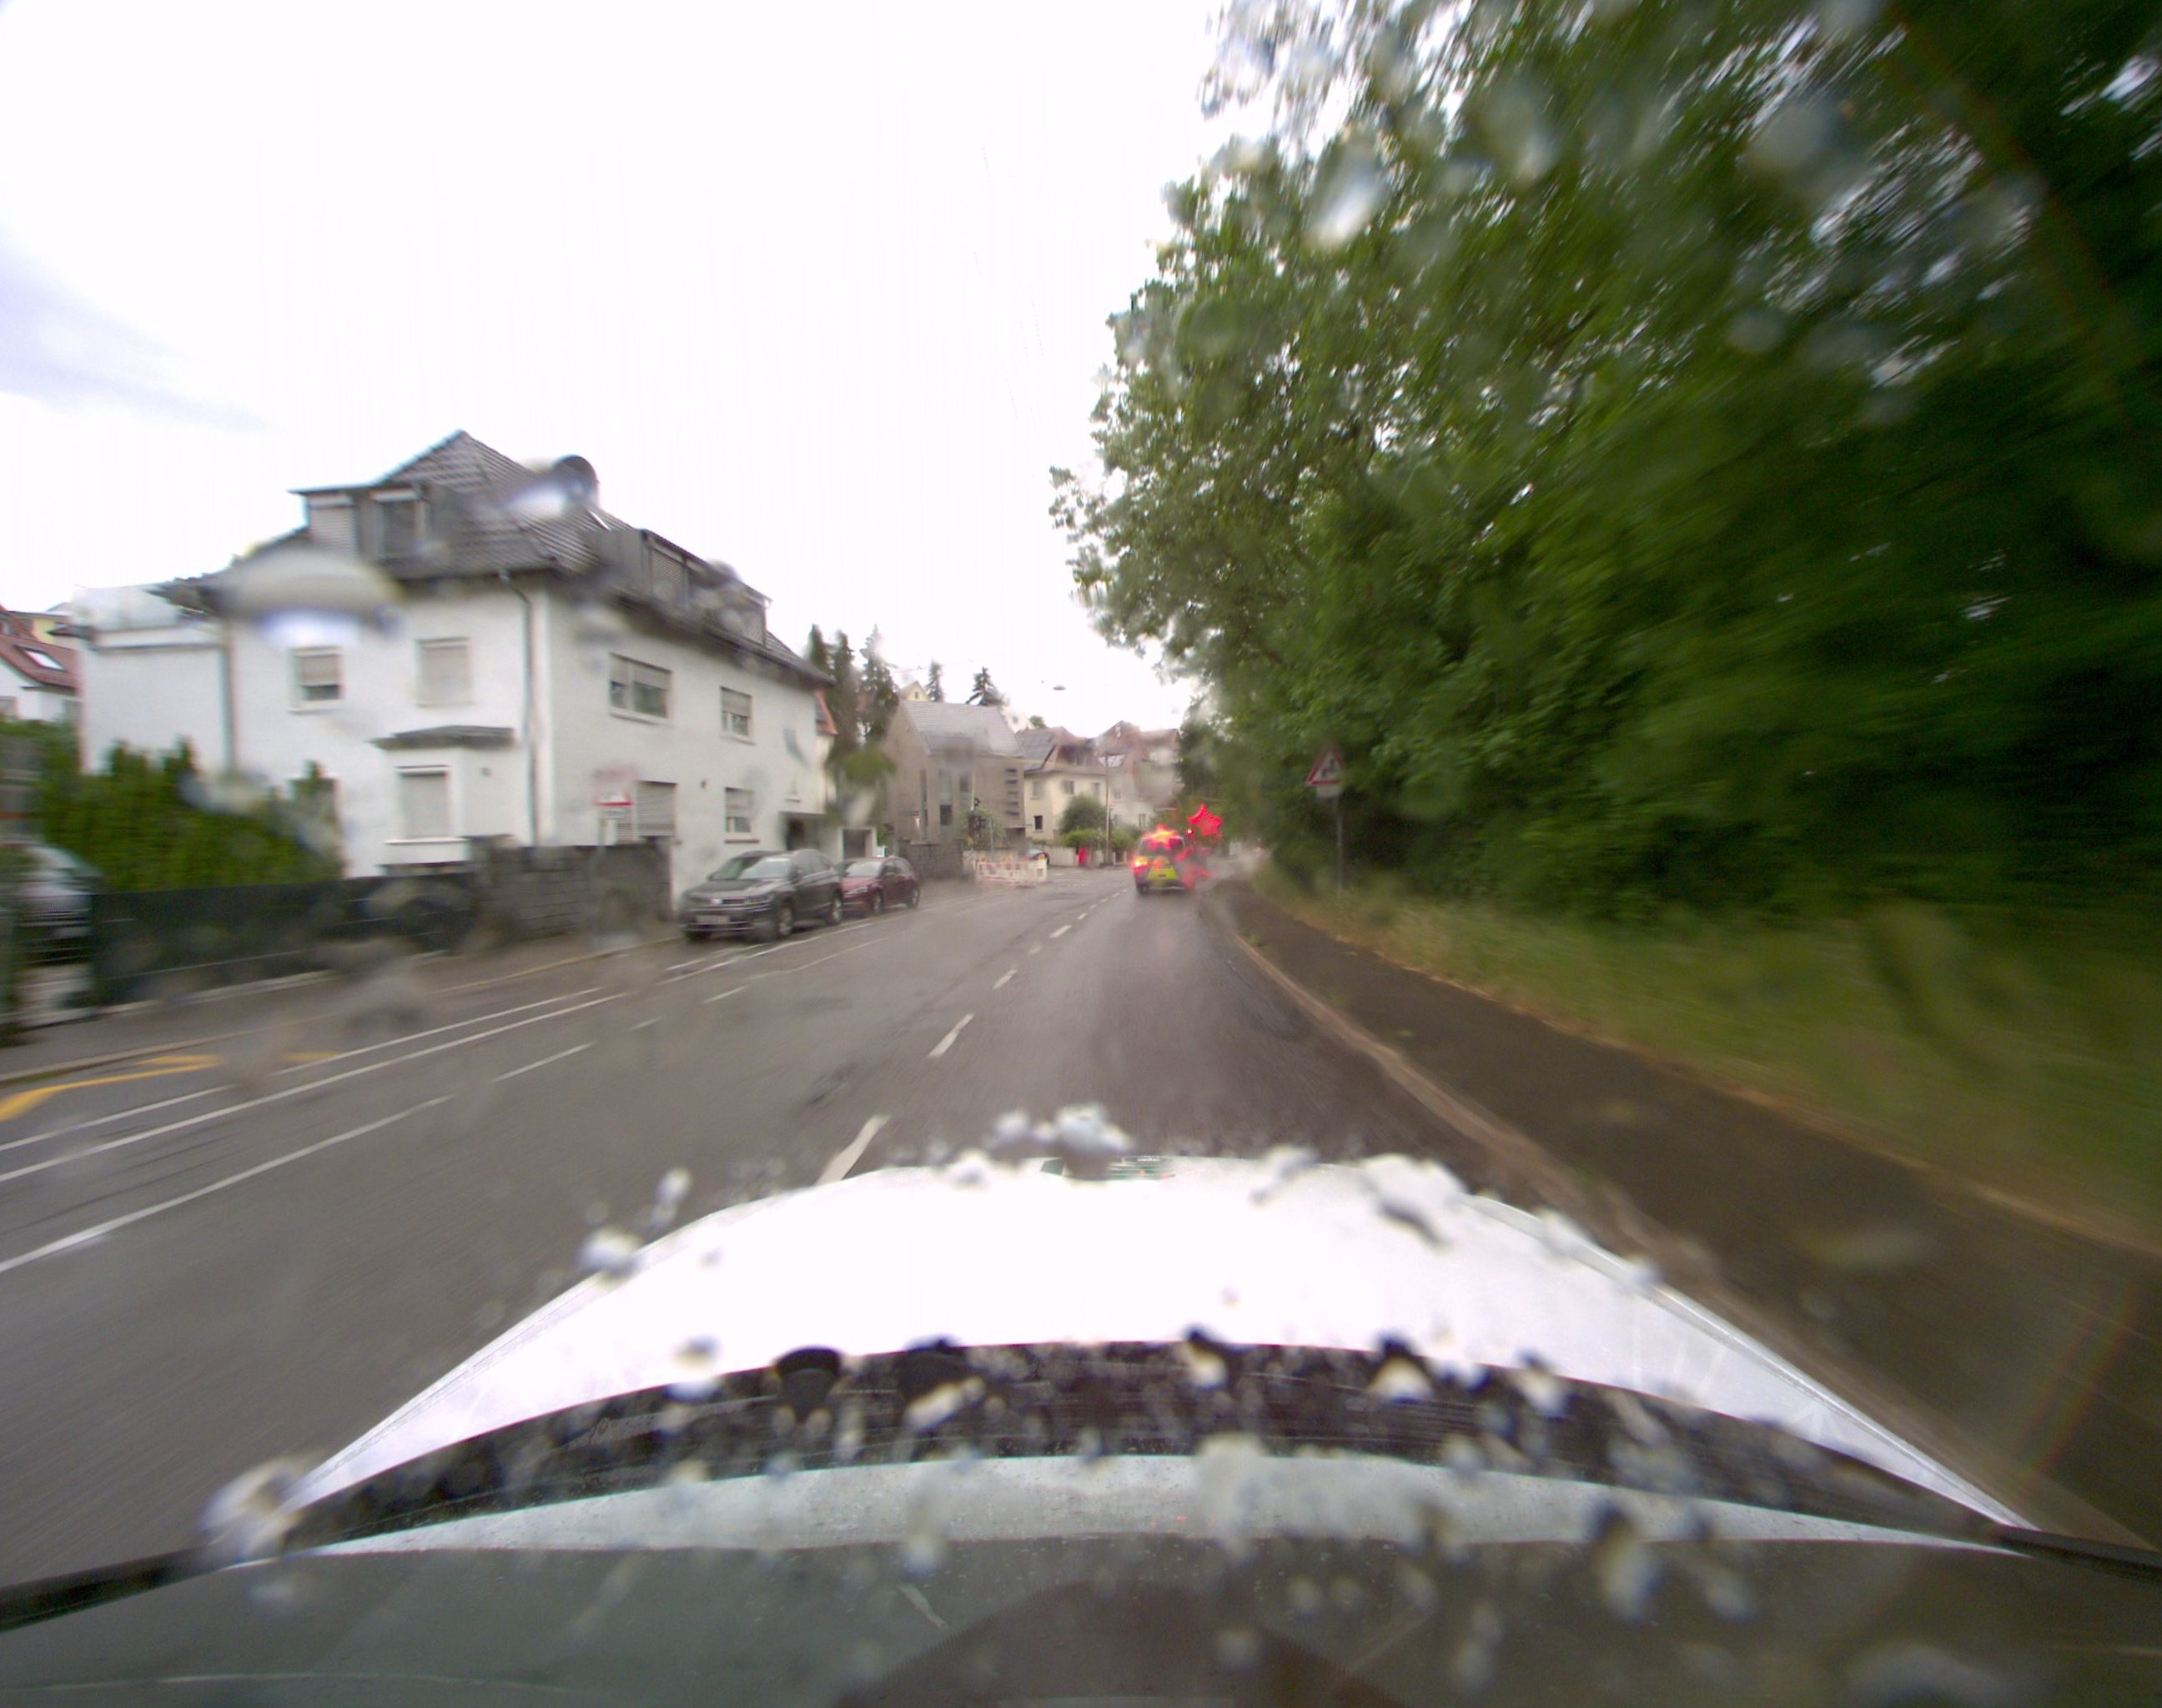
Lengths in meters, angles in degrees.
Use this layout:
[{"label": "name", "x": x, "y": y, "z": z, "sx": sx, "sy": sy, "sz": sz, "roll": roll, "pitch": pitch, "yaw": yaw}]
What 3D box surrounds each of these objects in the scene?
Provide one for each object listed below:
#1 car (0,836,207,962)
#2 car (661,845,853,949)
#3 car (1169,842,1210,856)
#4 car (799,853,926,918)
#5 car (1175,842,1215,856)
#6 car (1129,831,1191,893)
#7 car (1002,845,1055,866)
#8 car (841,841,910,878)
[{"label": "car", "x": -15.038, "y": 0.554, "z": 11.311, "sx": 3.970, "sy": 1.596, "sz": 1.736, "roll": 1, "pitch": -1, "yaw": 3}, {"label": "car", "x": -6.114, "y": 0.704, "z": 15.997, "sx": 1.747, "sy": 1.658, "sz": 4.408, "roll": -3, "pitch": 1, "yaw": 3}, {"label": "car", "x": 11.587, "y": -0.520, "z": 87.026, "sx": 3.949, "sy": 1.486, "sz": 1.770, "roll": 1, "pitch": -1, "yaw": 30}, {"label": "car", "x": -5.564, "y": 0.753, "z": 21.359, "sx": 1.607, "sy": 1.440, "sz": 4.241, "roll": -1, "pitch": 1, "yaw": 8}, {"label": "car", "x": 12.483, "y": -0.520, "z": 89.000, "sx": 3.949, "sy": 1.486, "sz": 1.770, "roll": 1, "pitch": -1, "yaw": 30}, {"label": "car", "x": 2.883, "y": 0.278, "z": 28.911, "sx": 1.983, "sy": 2.014, "sz": 4.411, "roll": 0, "pitch": -1, "yaw": 7}, {"label": "car", "x": -3.751, "y": 0.077, "z": 57.257, "sx": 1.848, "sy": 1.443, "sz": 3.955, "roll": -2, "pitch": 1, "yaw": -37}, {"label": "car", "x": -8.856, "y": 0.200, "z": 35.426, "sx": 1.767, "sy": 1.464, "sz": 3.621, "roll": -2, "pitch": 0, "yaw": 5}]
